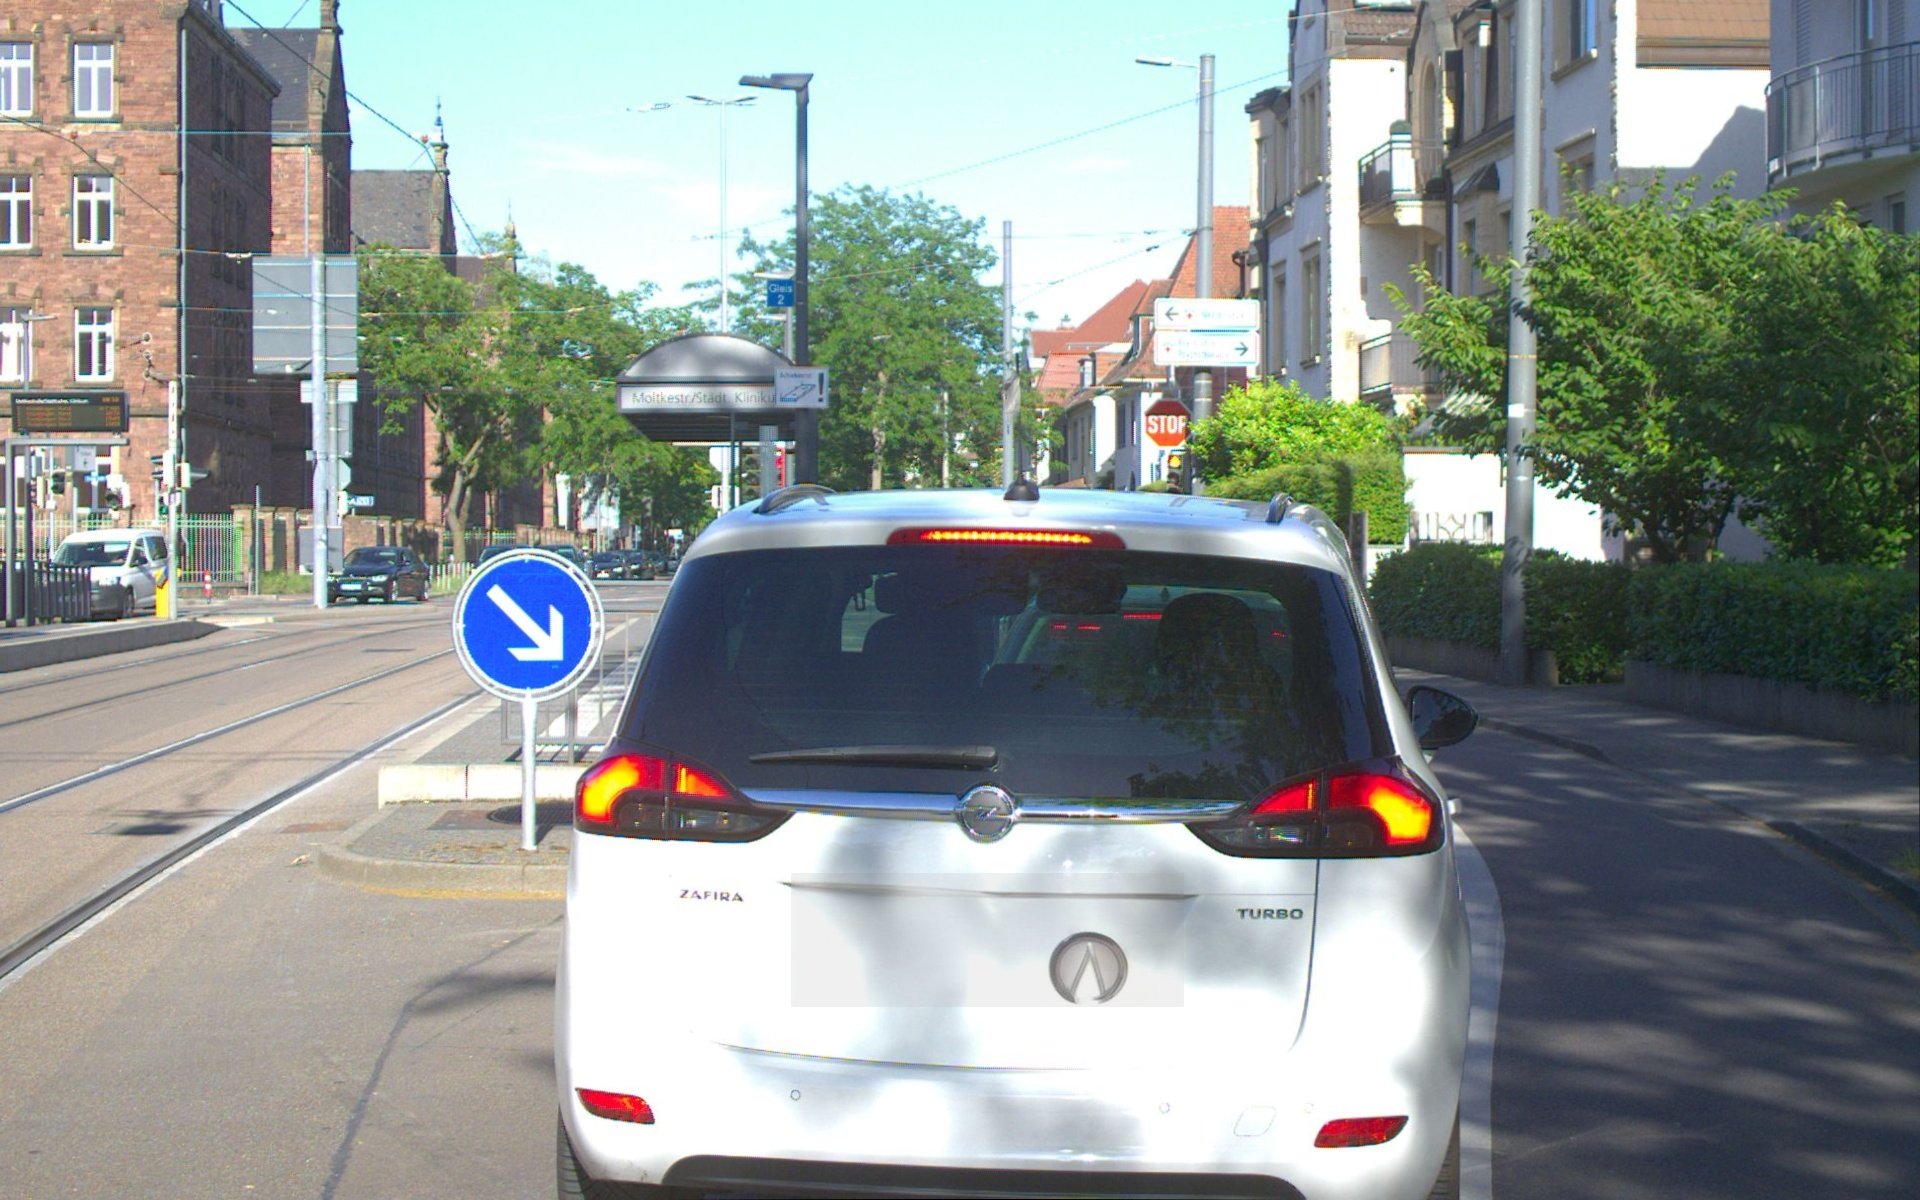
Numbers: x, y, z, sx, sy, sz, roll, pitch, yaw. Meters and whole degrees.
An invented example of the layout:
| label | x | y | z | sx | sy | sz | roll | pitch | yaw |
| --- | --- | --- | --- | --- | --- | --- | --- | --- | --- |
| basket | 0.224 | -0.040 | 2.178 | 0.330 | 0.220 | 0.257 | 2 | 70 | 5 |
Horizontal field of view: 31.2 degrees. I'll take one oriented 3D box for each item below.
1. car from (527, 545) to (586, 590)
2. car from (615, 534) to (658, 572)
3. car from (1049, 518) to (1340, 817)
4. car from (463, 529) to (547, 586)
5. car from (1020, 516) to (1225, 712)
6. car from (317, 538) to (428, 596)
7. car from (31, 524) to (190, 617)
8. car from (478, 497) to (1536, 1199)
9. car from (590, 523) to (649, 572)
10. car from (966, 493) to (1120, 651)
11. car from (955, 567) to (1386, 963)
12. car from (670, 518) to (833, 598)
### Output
| label | x | y | z | sx | sy | sz | roll | pitch | yaw |
| --- | --- | --- | --- | --- | --- | --- | --- | --- | --- |
| car | -13.251 | -1.053 | 113.149 | 1.826 | 1.441 | 4.328 | 0 | 0 | -5 |
| car | -14.277 | -2.086 | 151.755 | 1.662 | 1.645 | 4.001 | 0 | 1 | -2 |
| car | 1.468 | 0.339 | 21.034 | 1.569 | 1.609 | 3.783 | 2 | 1 | 5 |
| car | -13.306 | -1.235 | 100.768 | 1.827 | 1.611 | 4.327 | 0 | 0 | 1 |
| car | 1.436 | 0.083 | 31.613 | 1.596 | 1.629 | 3.901 | 2 | 1 | -1 |
| car | -14.740 | -0.847 | 86.471 | 1.798 | 1.377 | 4.495 | 0 | 1 | 3 |
| car | -16.863 | -0.613 | 68.423 | 1.827 | 1.782 | 4.254 | 0 | 1 | 5 |
| car | 0.243 | 0.571 | 8.089 | 1.878 | 1.579 | 3.999 | 0 | 1 | 5 |
| car | -14.034 | -2.171 | 141.774 | 1.993 | 2.007 | 4.000 | 0 | 1 | 1 |
| car | 0.926 | -0.373 | 40.149 | 1.596 | 1.629 | 3.902 | 2 | 3 | -1 |
| car | 0.950 | 0.598 | 14.785 | 1.569 | 1.396 | 3.783 | 2 | 1 | 5 |
| car | -5.379 | -1.095 | 88.631 | 3.997 | 2.007 | 1.995 | 1 | 1 | 43 |
